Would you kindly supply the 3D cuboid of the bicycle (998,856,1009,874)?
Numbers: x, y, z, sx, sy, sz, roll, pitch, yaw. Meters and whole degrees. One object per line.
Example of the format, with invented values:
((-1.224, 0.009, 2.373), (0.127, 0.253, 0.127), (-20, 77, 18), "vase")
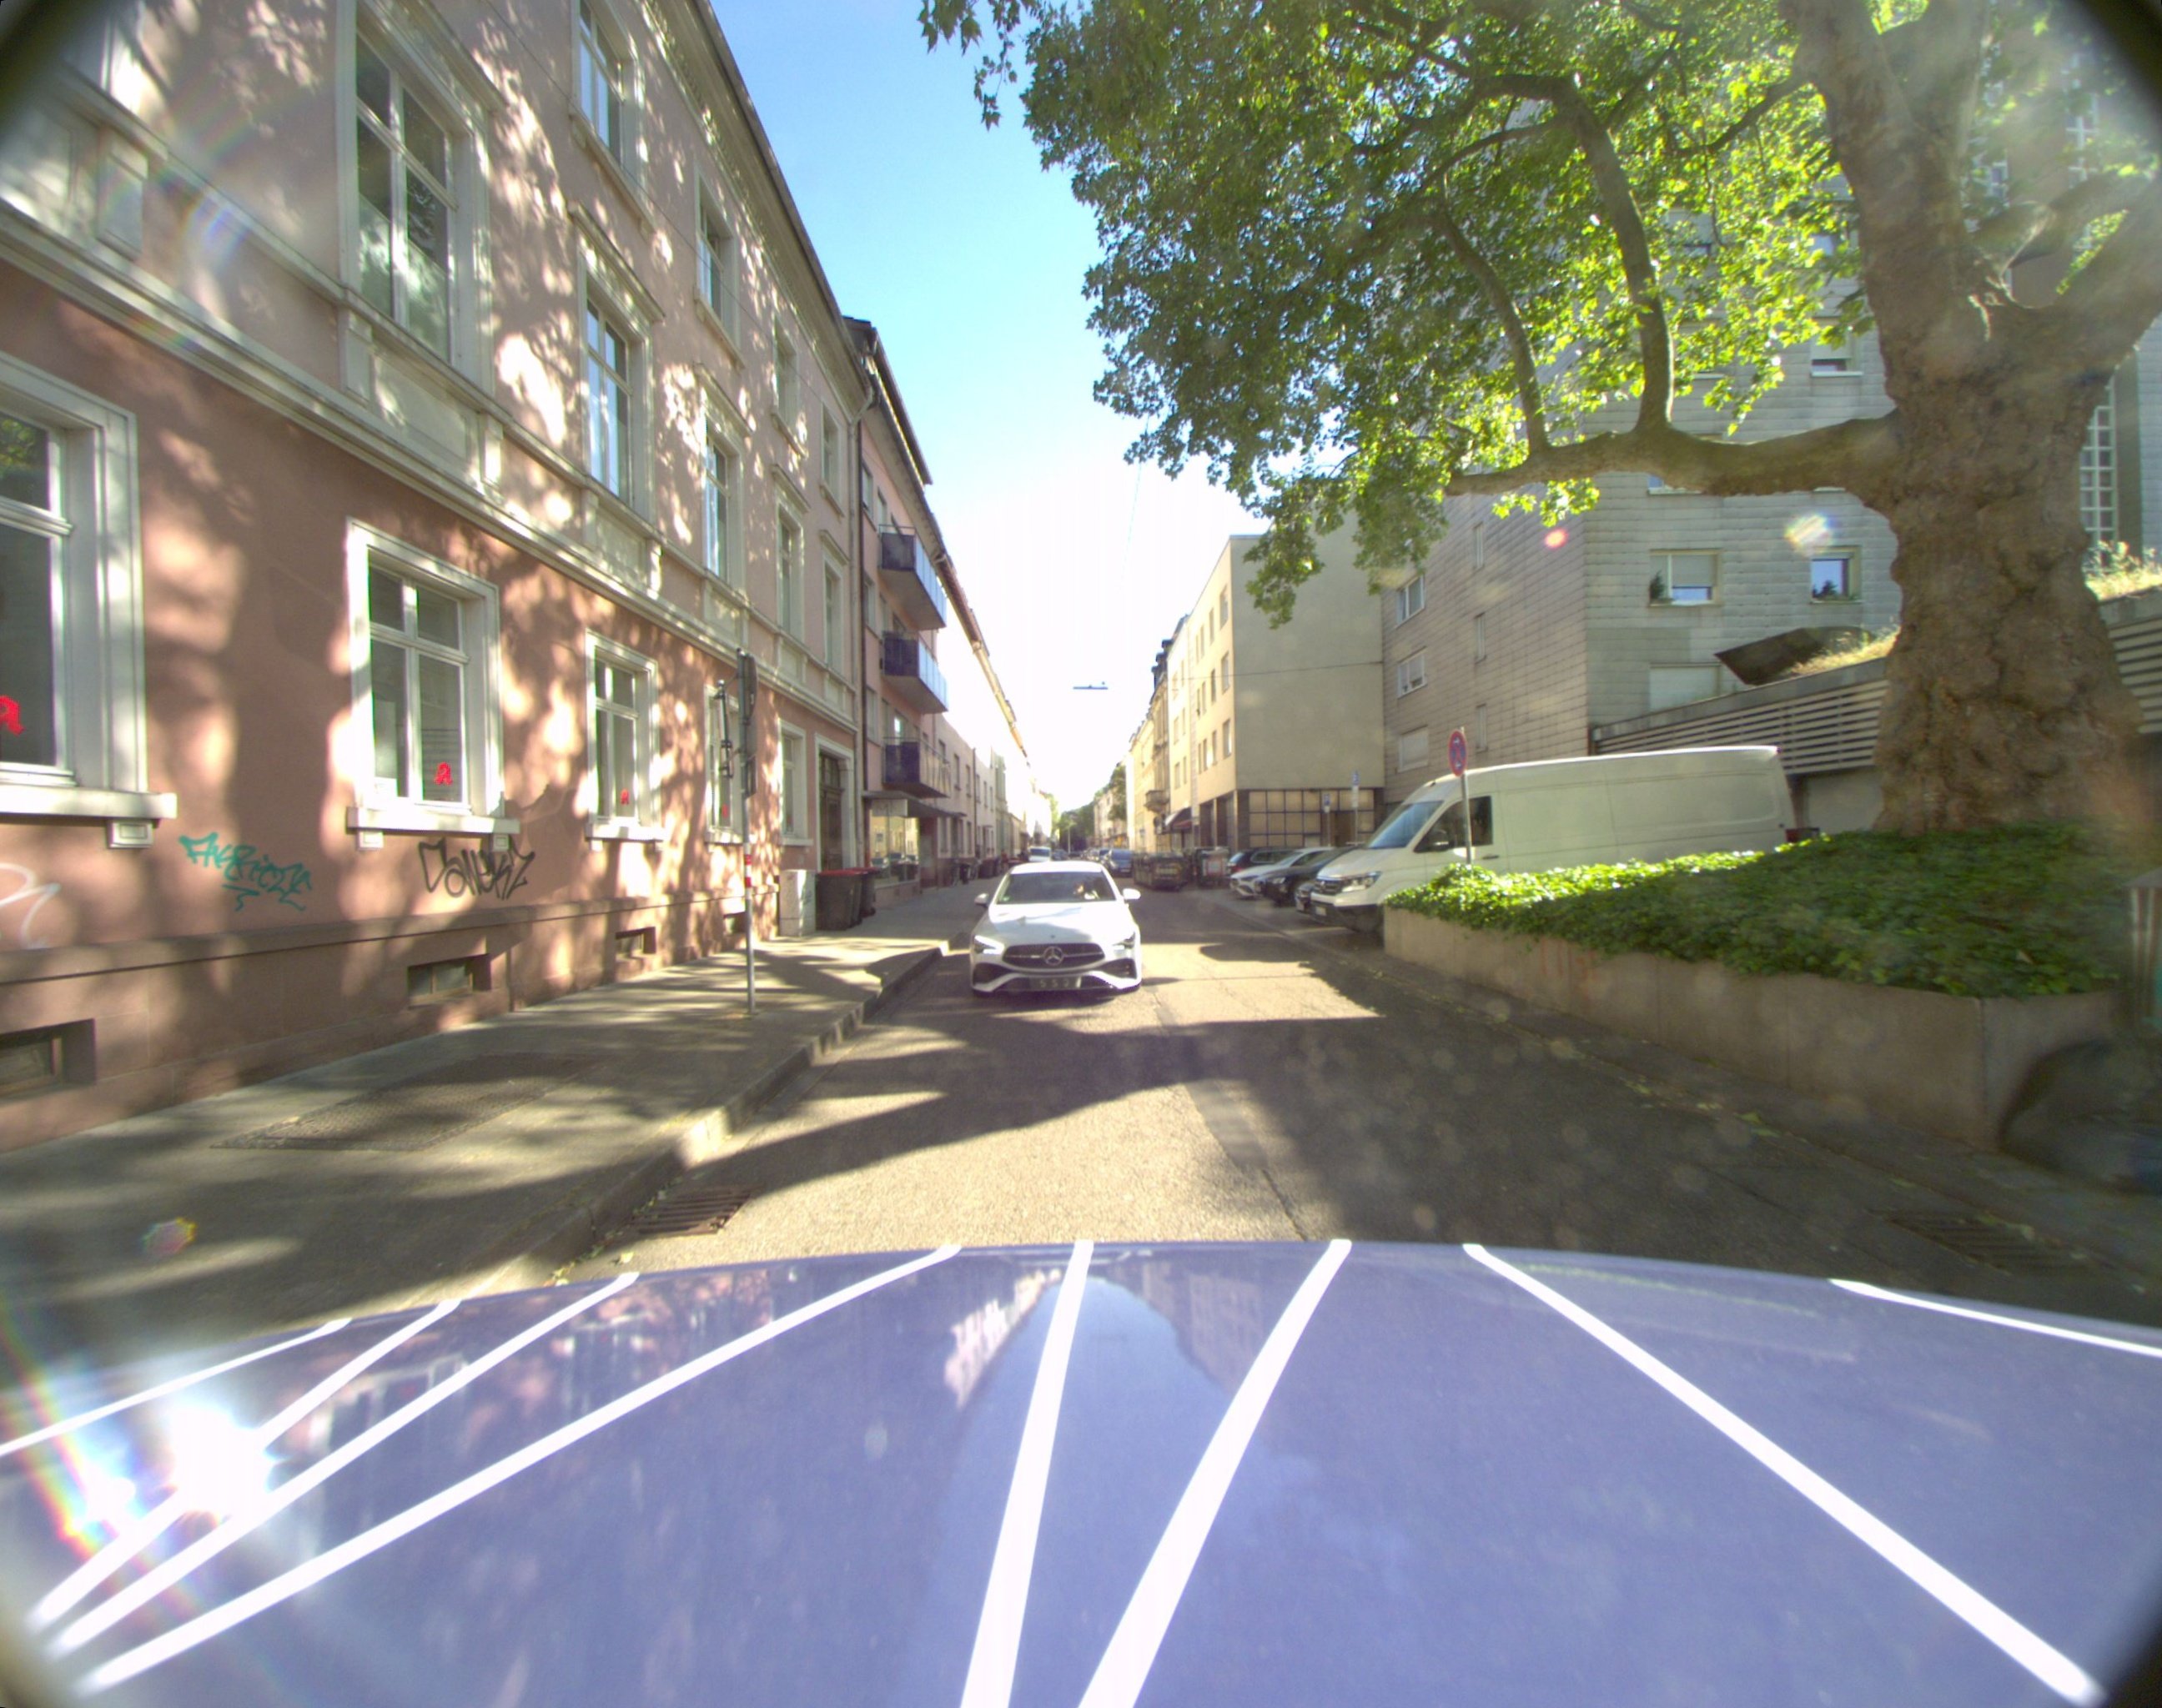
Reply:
((-4.925, 0.676, 48.205), (0.490, 1.089, 1.932), (-1, 1, 0), "bicycle")

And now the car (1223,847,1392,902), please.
((6.536, 0.572, 22.144), (4.417, 1.454, 1.599), (-1, 0, -6), "car")

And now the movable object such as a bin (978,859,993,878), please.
((-4.999, 0.757, 39.717), (0.717, 0.996, 0.546), (2, 1, -2), "movable object such as a bin")

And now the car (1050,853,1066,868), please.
((-2.766, 0.811, 92.324), (1.765, 1.698, 4.327), (-1, 0, -1), "car")

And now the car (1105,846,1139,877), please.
((2.377, 0.402, 44.512), (1.765, 1.698, 4.327), (-1, 0, 0), "car")

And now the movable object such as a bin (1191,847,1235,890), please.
((4.815, 0.514, 27.766), (1.328, 1.492, 1.194), (-1, 1, -2), "movable object such as a bin")

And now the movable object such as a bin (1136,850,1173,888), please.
((2.943, 0.577, 30.657), (1.247, 1.492, 1.925), (-1, 1, -2), "movable object such as a bin")

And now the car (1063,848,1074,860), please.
((-1.911, -0.022, 117.531), (1.765, 1.698, 4.327), (-1, 0, -1), "car")

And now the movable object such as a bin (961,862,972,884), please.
((-4.942, 0.816, 32.771), (0.416, 0.935, 0.302), (2, 1, -2), "movable object such as a bin")

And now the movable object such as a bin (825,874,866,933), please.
((-4.444, 0.924, 14.364), (0.570, 1.052, 0.612), (2, 1, -2), "movable object such as a bin")

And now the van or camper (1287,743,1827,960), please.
((7.002, -0.030, 11.743), (6.922, 2.559, 2.000), (-4, 0, 0), "van or camper")

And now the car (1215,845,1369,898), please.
((6.714, 0.533, 24.398), (4.417, 1.524, 1.698), (-1, 0, -6), "car")

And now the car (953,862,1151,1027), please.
((-0.267, 0.898, 9.603), (1.862, 1.448, 4.562), (-2, 0, 0), "car")

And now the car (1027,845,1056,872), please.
((-2.733, 0.281, 53.945), (1.765, 1.843, 4.327), (-1, 0, 0), "car")

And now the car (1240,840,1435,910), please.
((6.493, 0.509, 19.475), (4.417, 1.607, 1.698), (-1, 1, -6), "car")

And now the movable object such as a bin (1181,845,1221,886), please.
((4.600, 0.428, 29.170), (1.222, 1.492, 1.517), (-1, 1, -2), "movable object such as a bin")

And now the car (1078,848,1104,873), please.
((0.724, 0.425, 55.366), (1.765, 1.698, 4.327), (-1, 0, 0), "car")

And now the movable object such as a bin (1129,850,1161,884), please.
((2.867, 0.566, 34.218), (1.222, 1.492, 1.559), (-1, 1, -2), "movable object such as a bin")

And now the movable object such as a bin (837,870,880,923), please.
((-4.752, 0.901, 16.281), (0.718, 1.078, 0.618), (2, 1, -2), "movable object such as a bin")

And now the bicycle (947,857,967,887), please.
((-4.900, 0.689, 30.069), (0.402, 1.144, 2.024), (-1, 1, 0), "bicycle")

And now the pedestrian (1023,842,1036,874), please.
((-3.250, 0.259, 47.835), (0.761, 2.002, 0.771), (-1, 1, 0), "pedestrian")

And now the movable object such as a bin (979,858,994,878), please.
((-5.033, 0.745, 40.306), (0.717, 0.996, 0.546), (2, 1, -2), "movable object such as a bin")

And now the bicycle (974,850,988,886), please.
((-4.972, 0.684, 37.926), (0.402, 1.725, 2.106), (-1, 1, 0), "bicycle")

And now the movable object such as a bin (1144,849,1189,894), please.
((3.158, 0.621, 28.326), (1.241, 1.492, 1.876), (-6, 1, -2), "movable object such as a bin")

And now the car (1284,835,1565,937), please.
((6.265, 0.556, 14.173), (4.415, 1.524, 1.698), (-3, 1, -1), "car")

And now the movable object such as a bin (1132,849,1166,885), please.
((2.906, 0.547, 32.617), (1.222, 1.492, 1.559), (-1, 1, -2), "movable object such as a bin")

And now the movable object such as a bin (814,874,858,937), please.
((-4.416, 0.916, 13.747), (0.570, 1.078, 0.654), (2, 1, -2), "movable object such as a bin")
